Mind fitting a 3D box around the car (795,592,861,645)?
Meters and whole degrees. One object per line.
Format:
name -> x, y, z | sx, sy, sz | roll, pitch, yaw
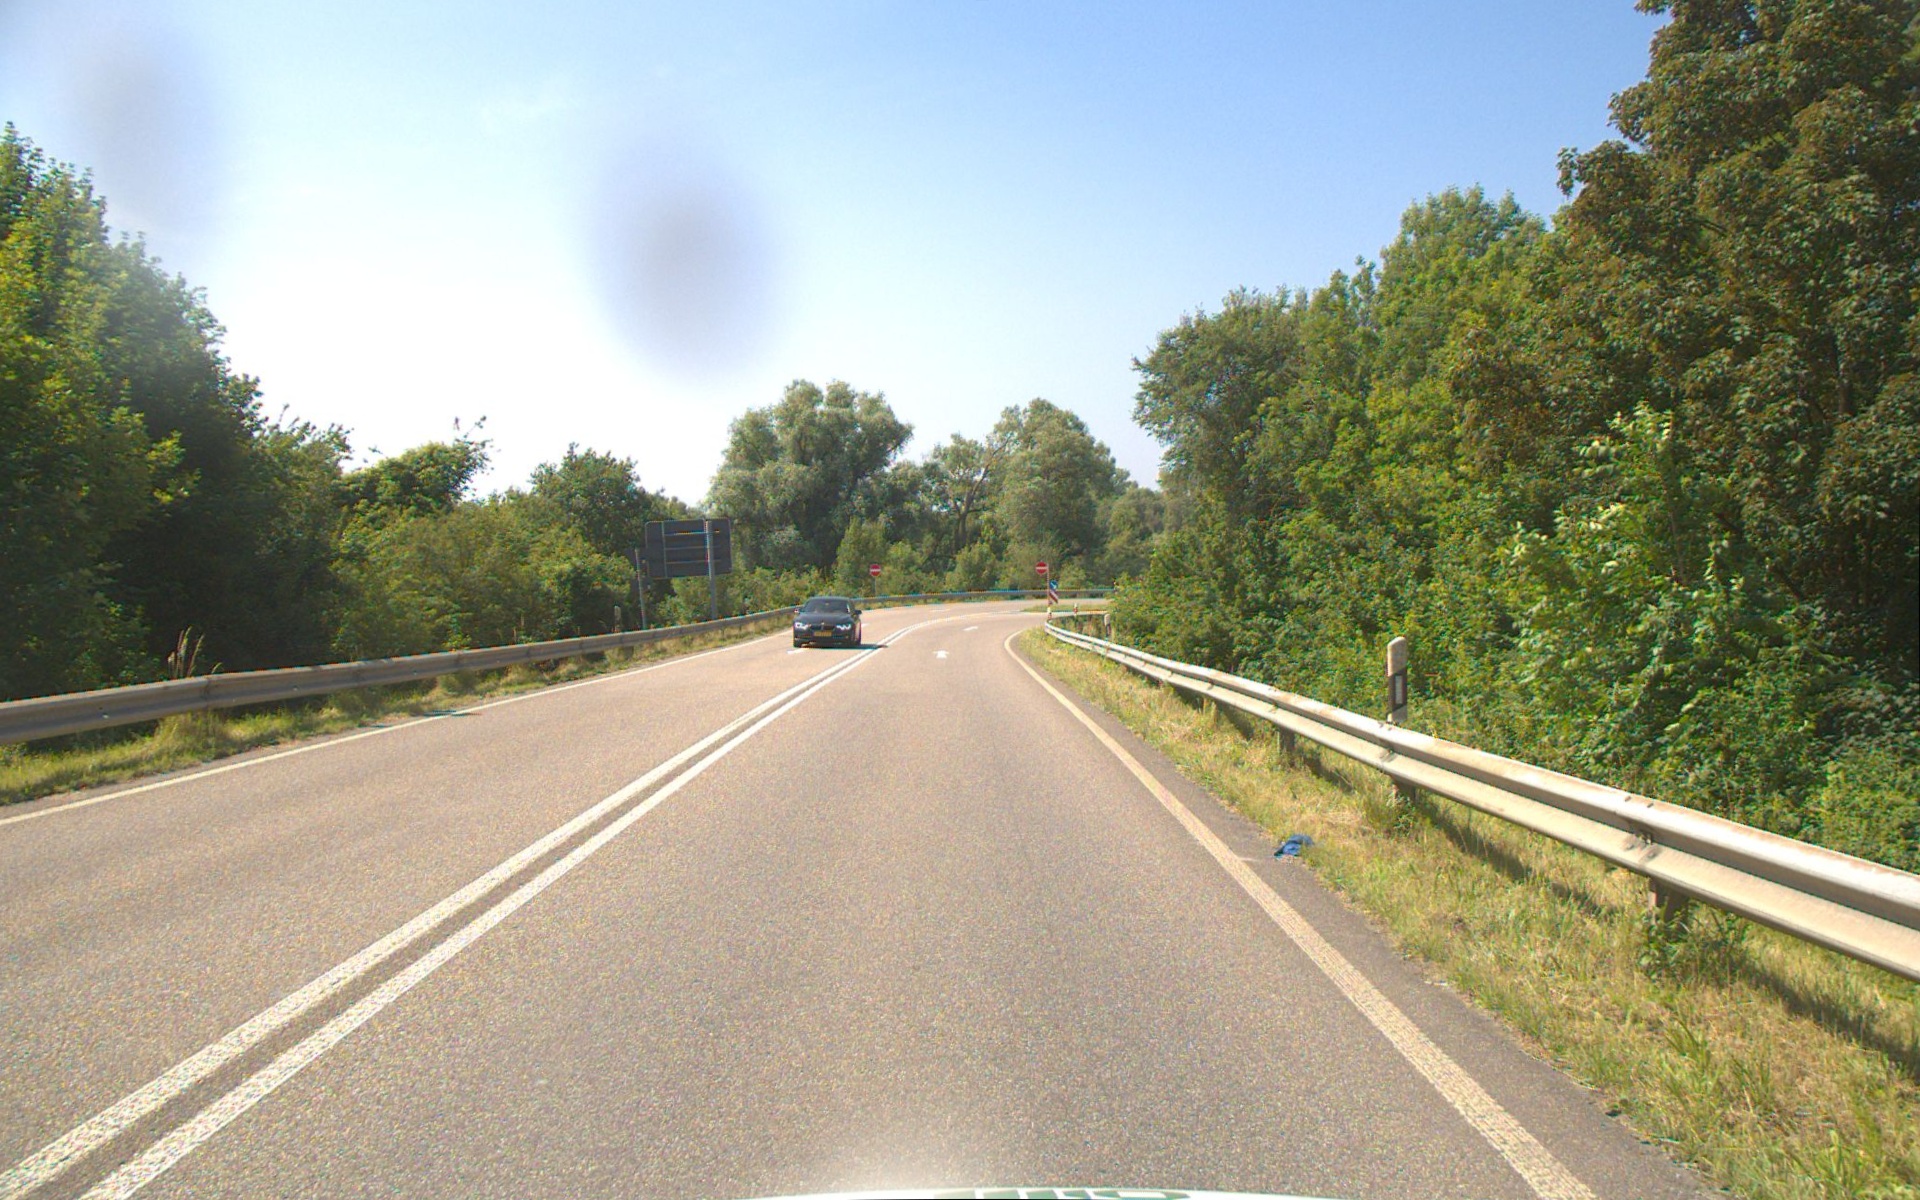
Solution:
car -> -3.830, 0.523, 48.558 | 1.574, 1.498, 4.220 | 0, 0, 0
